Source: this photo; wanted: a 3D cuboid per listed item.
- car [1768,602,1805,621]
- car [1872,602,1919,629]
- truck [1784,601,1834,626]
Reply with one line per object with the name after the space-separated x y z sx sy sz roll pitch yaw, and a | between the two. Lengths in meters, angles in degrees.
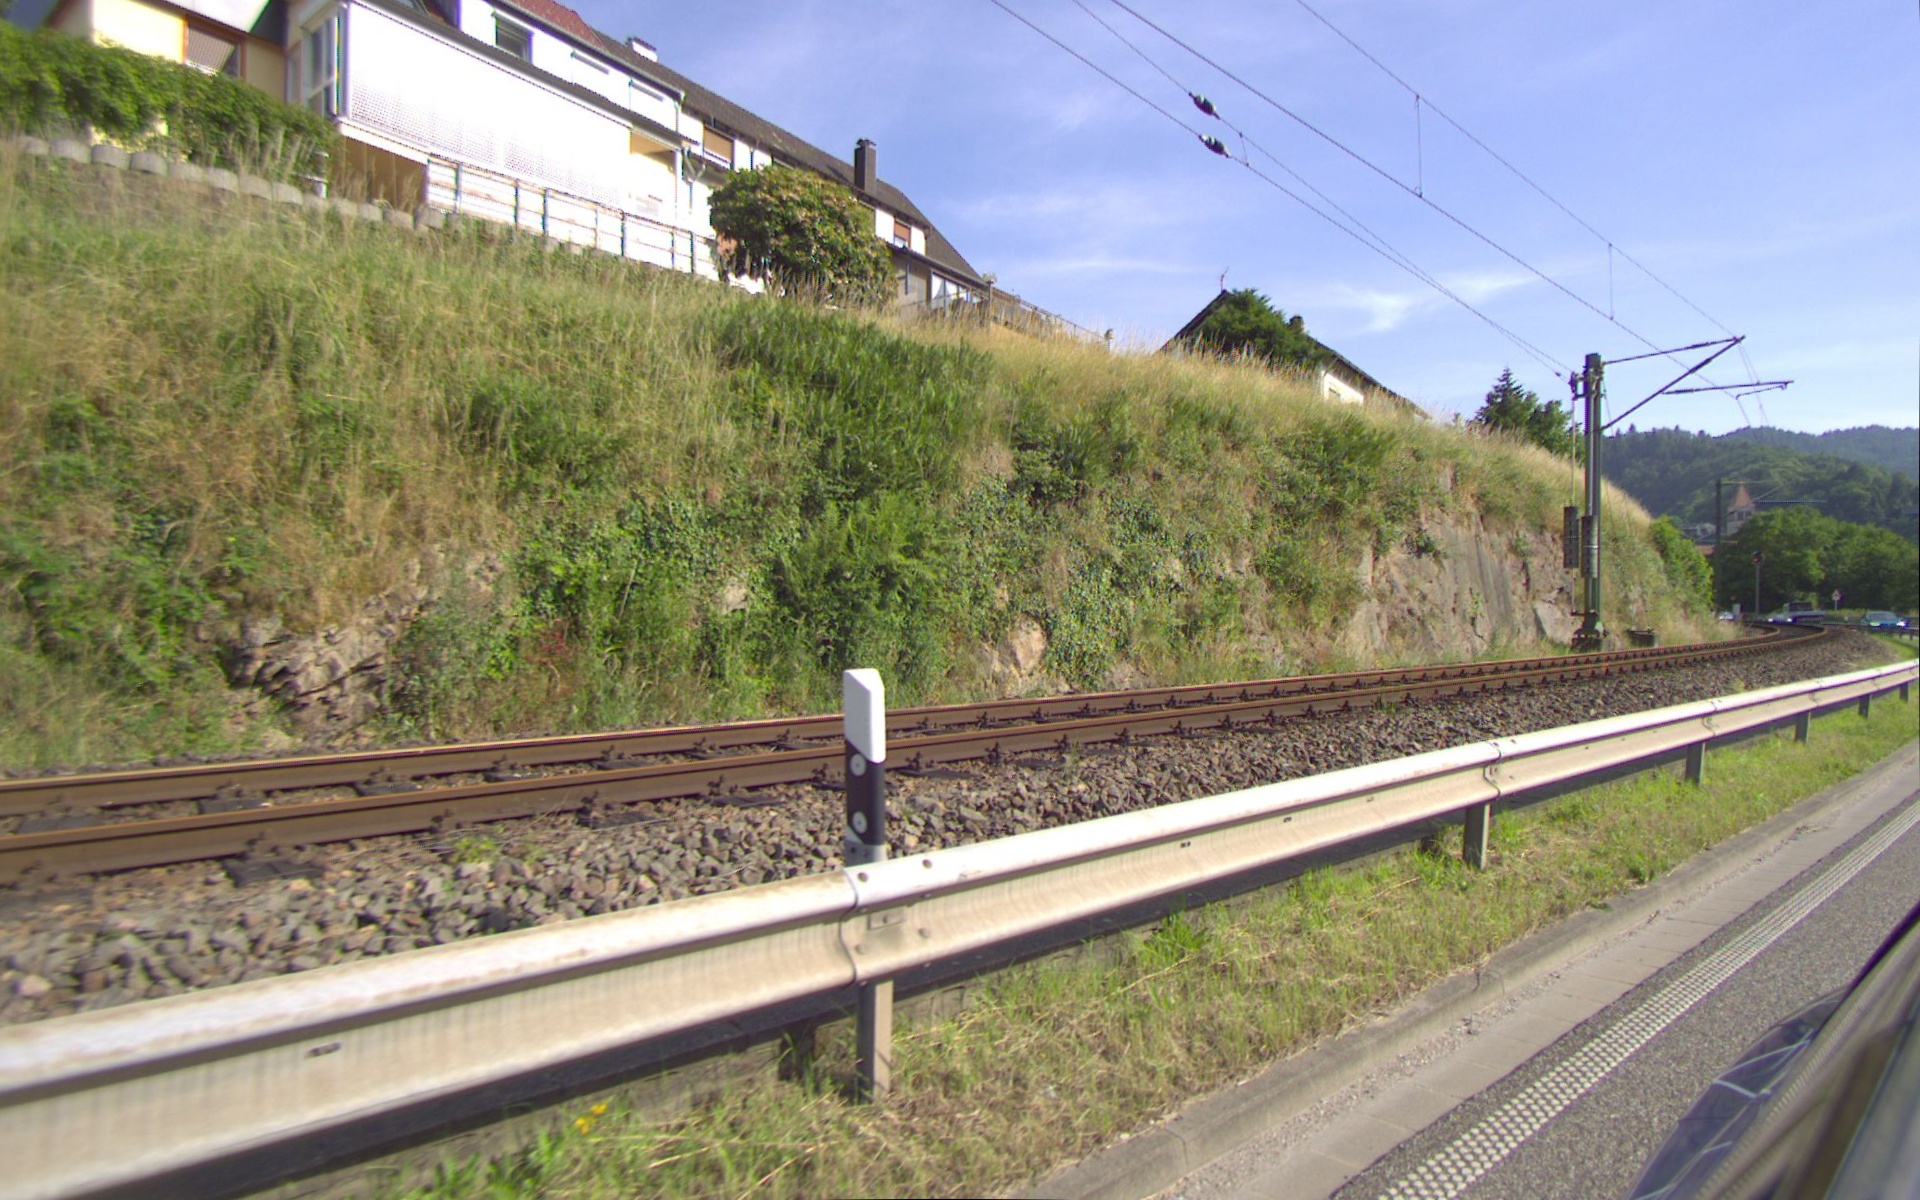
78.262 1.063 95.871 1.869 1.767 4.136 -1 -1 29 | car
62.808 1.035 67.917 1.874 1.767 4.126 -1 -1 35 | car
84.693 1.358 101.106 2.142 2.396 6.683 -3 -2 26 | truck
